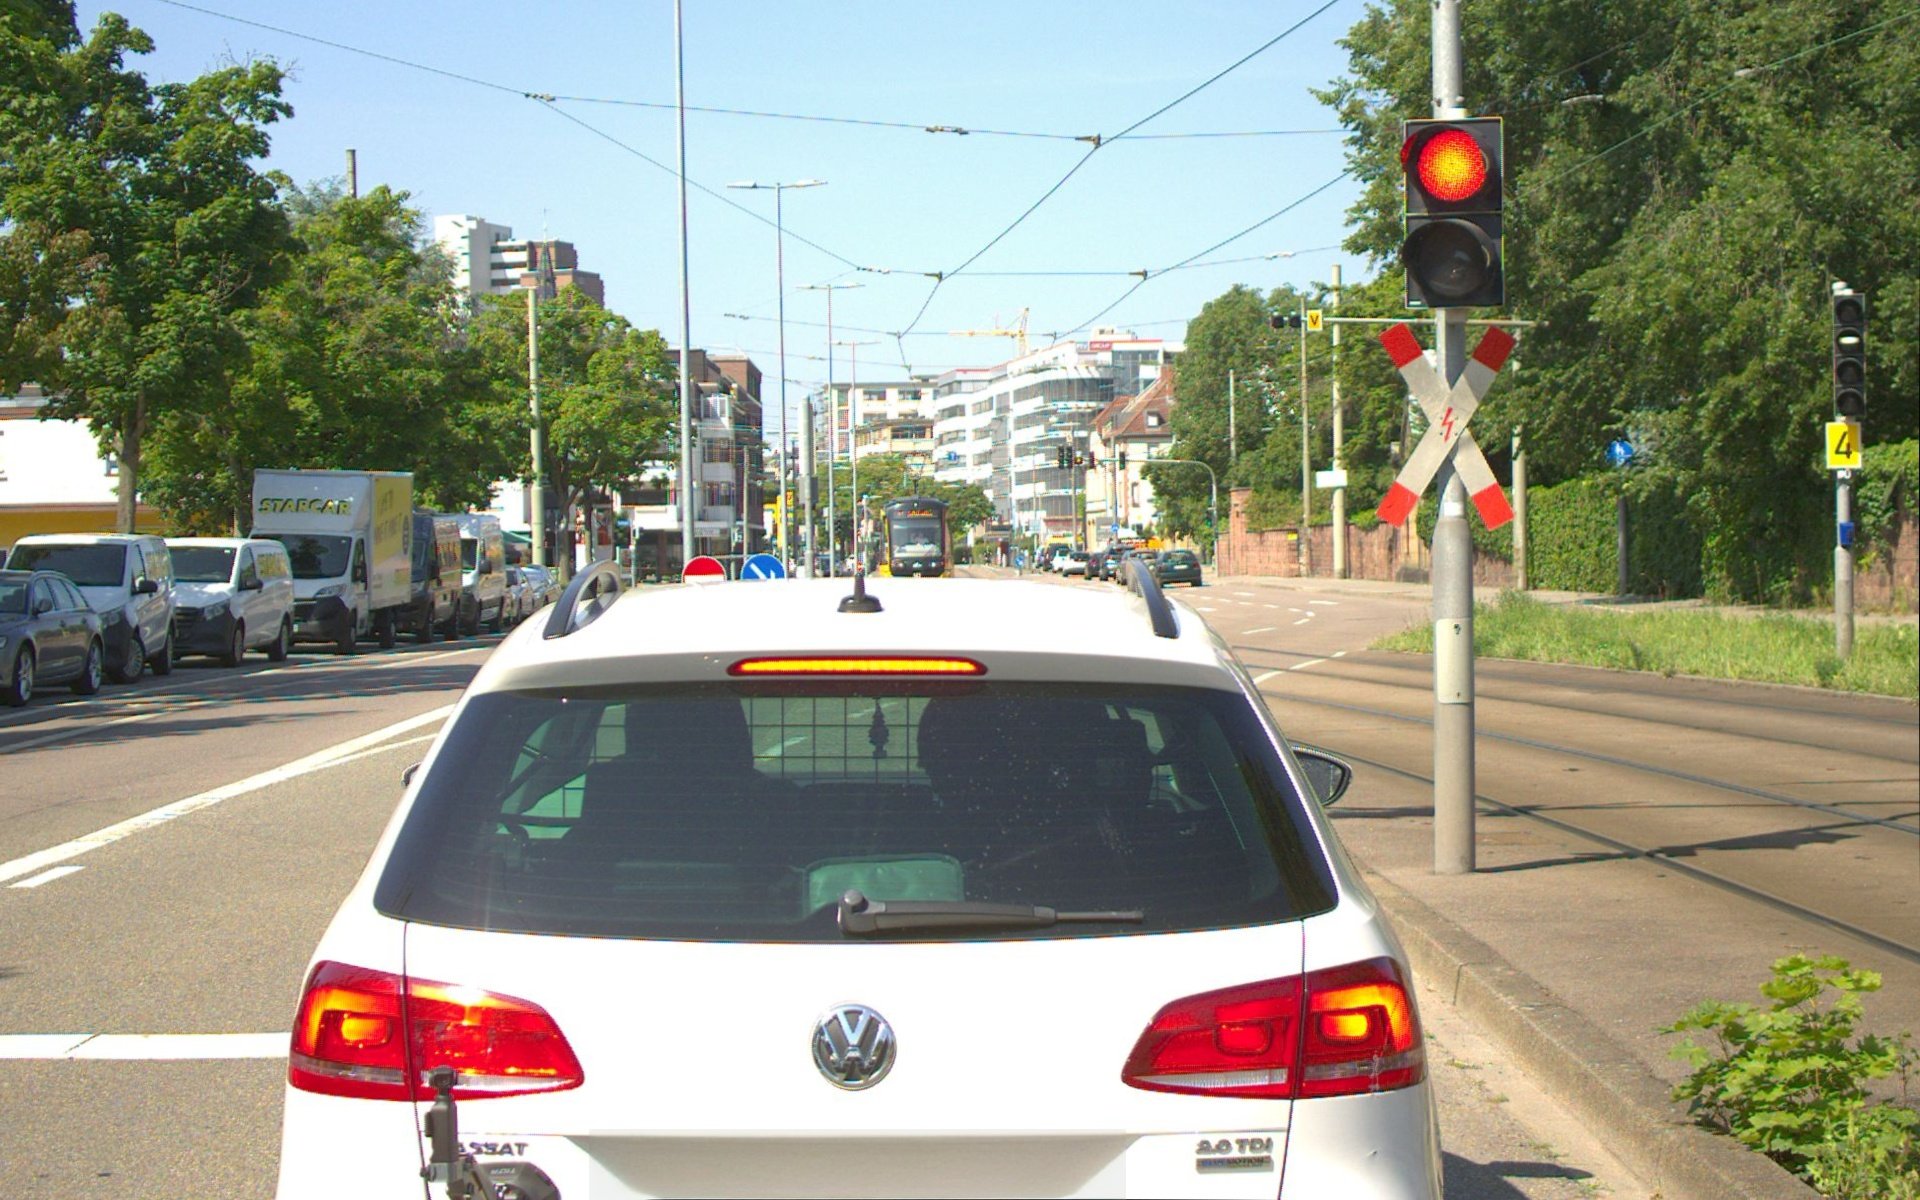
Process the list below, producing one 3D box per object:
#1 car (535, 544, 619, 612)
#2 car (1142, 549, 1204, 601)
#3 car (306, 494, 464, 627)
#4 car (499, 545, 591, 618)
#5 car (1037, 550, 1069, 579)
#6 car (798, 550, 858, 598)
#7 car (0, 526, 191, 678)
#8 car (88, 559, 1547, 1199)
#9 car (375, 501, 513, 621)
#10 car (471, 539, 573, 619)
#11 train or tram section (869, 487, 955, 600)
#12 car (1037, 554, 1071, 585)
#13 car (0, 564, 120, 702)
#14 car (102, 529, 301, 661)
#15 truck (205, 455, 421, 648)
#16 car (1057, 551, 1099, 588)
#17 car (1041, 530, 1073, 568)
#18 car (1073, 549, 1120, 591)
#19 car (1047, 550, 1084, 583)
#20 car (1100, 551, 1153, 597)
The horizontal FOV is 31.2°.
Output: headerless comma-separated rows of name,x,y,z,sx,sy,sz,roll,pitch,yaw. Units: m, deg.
car,-10.944,-0.661,98.597,1.863,1.861,5.414,1,1,-1
car,8.017,-0.969,129.688,1.863,1.861,5.062,1,1,-1
car,-11.360,-0.806,68.314,2.123,2.508,5.733,1,1,0
car,-11.023,-0.522,91.682,1.863,1.861,5.414,1,1,-1
car,6.215,-2.380,230.980,1.863,1.861,5.062,1,1,-1
car,-4.289,-0.868,112.308,1.705,1.468,4.589,-2,1,1
car,-11.406,-0.026,45.315,1.863,1.861,5.075,1,1,-6
car,-0.185,0.674,6.201,1.762,1.425,4.000,-1,1,-1
car,-11.311,-0.877,75.751,2.123,2.508,5.733,1,1,0
car,-10.771,-0.556,84.865,1.863,1.861,5.414,1,1,-1
train or tram section,-1.738,-2.072,125.428,2.870,3.842,12.392,-1,1,-1
car,5.895,-1.931,215.523,1.863,1.861,5.062,1,1,-1
car,-10.910,0.331,38.778,1.863,1.411,4.280,1,1,-1
car,-11.371,-0.122,51.899,1.863,1.861,5.414,1,1,-1
truck,-11.239,-0.865,60.312,2.421,3.139,6.997,1,1,0
car,6.097,-1.598,178.668,1.863,1.861,5.062,1,1,-1
car,7.193,-3.781,255.041,2.056,2.750,5.632,1,1,-1
car,6.375,-1.410,161.130,1.863,1.861,5.062,1,1,-1
car,6.171,-1.957,201.322,1.863,1.861,5.062,1,1,-1
car,7.039,-1.127,145.641,1.863,1.861,5.062,1,1,-1
